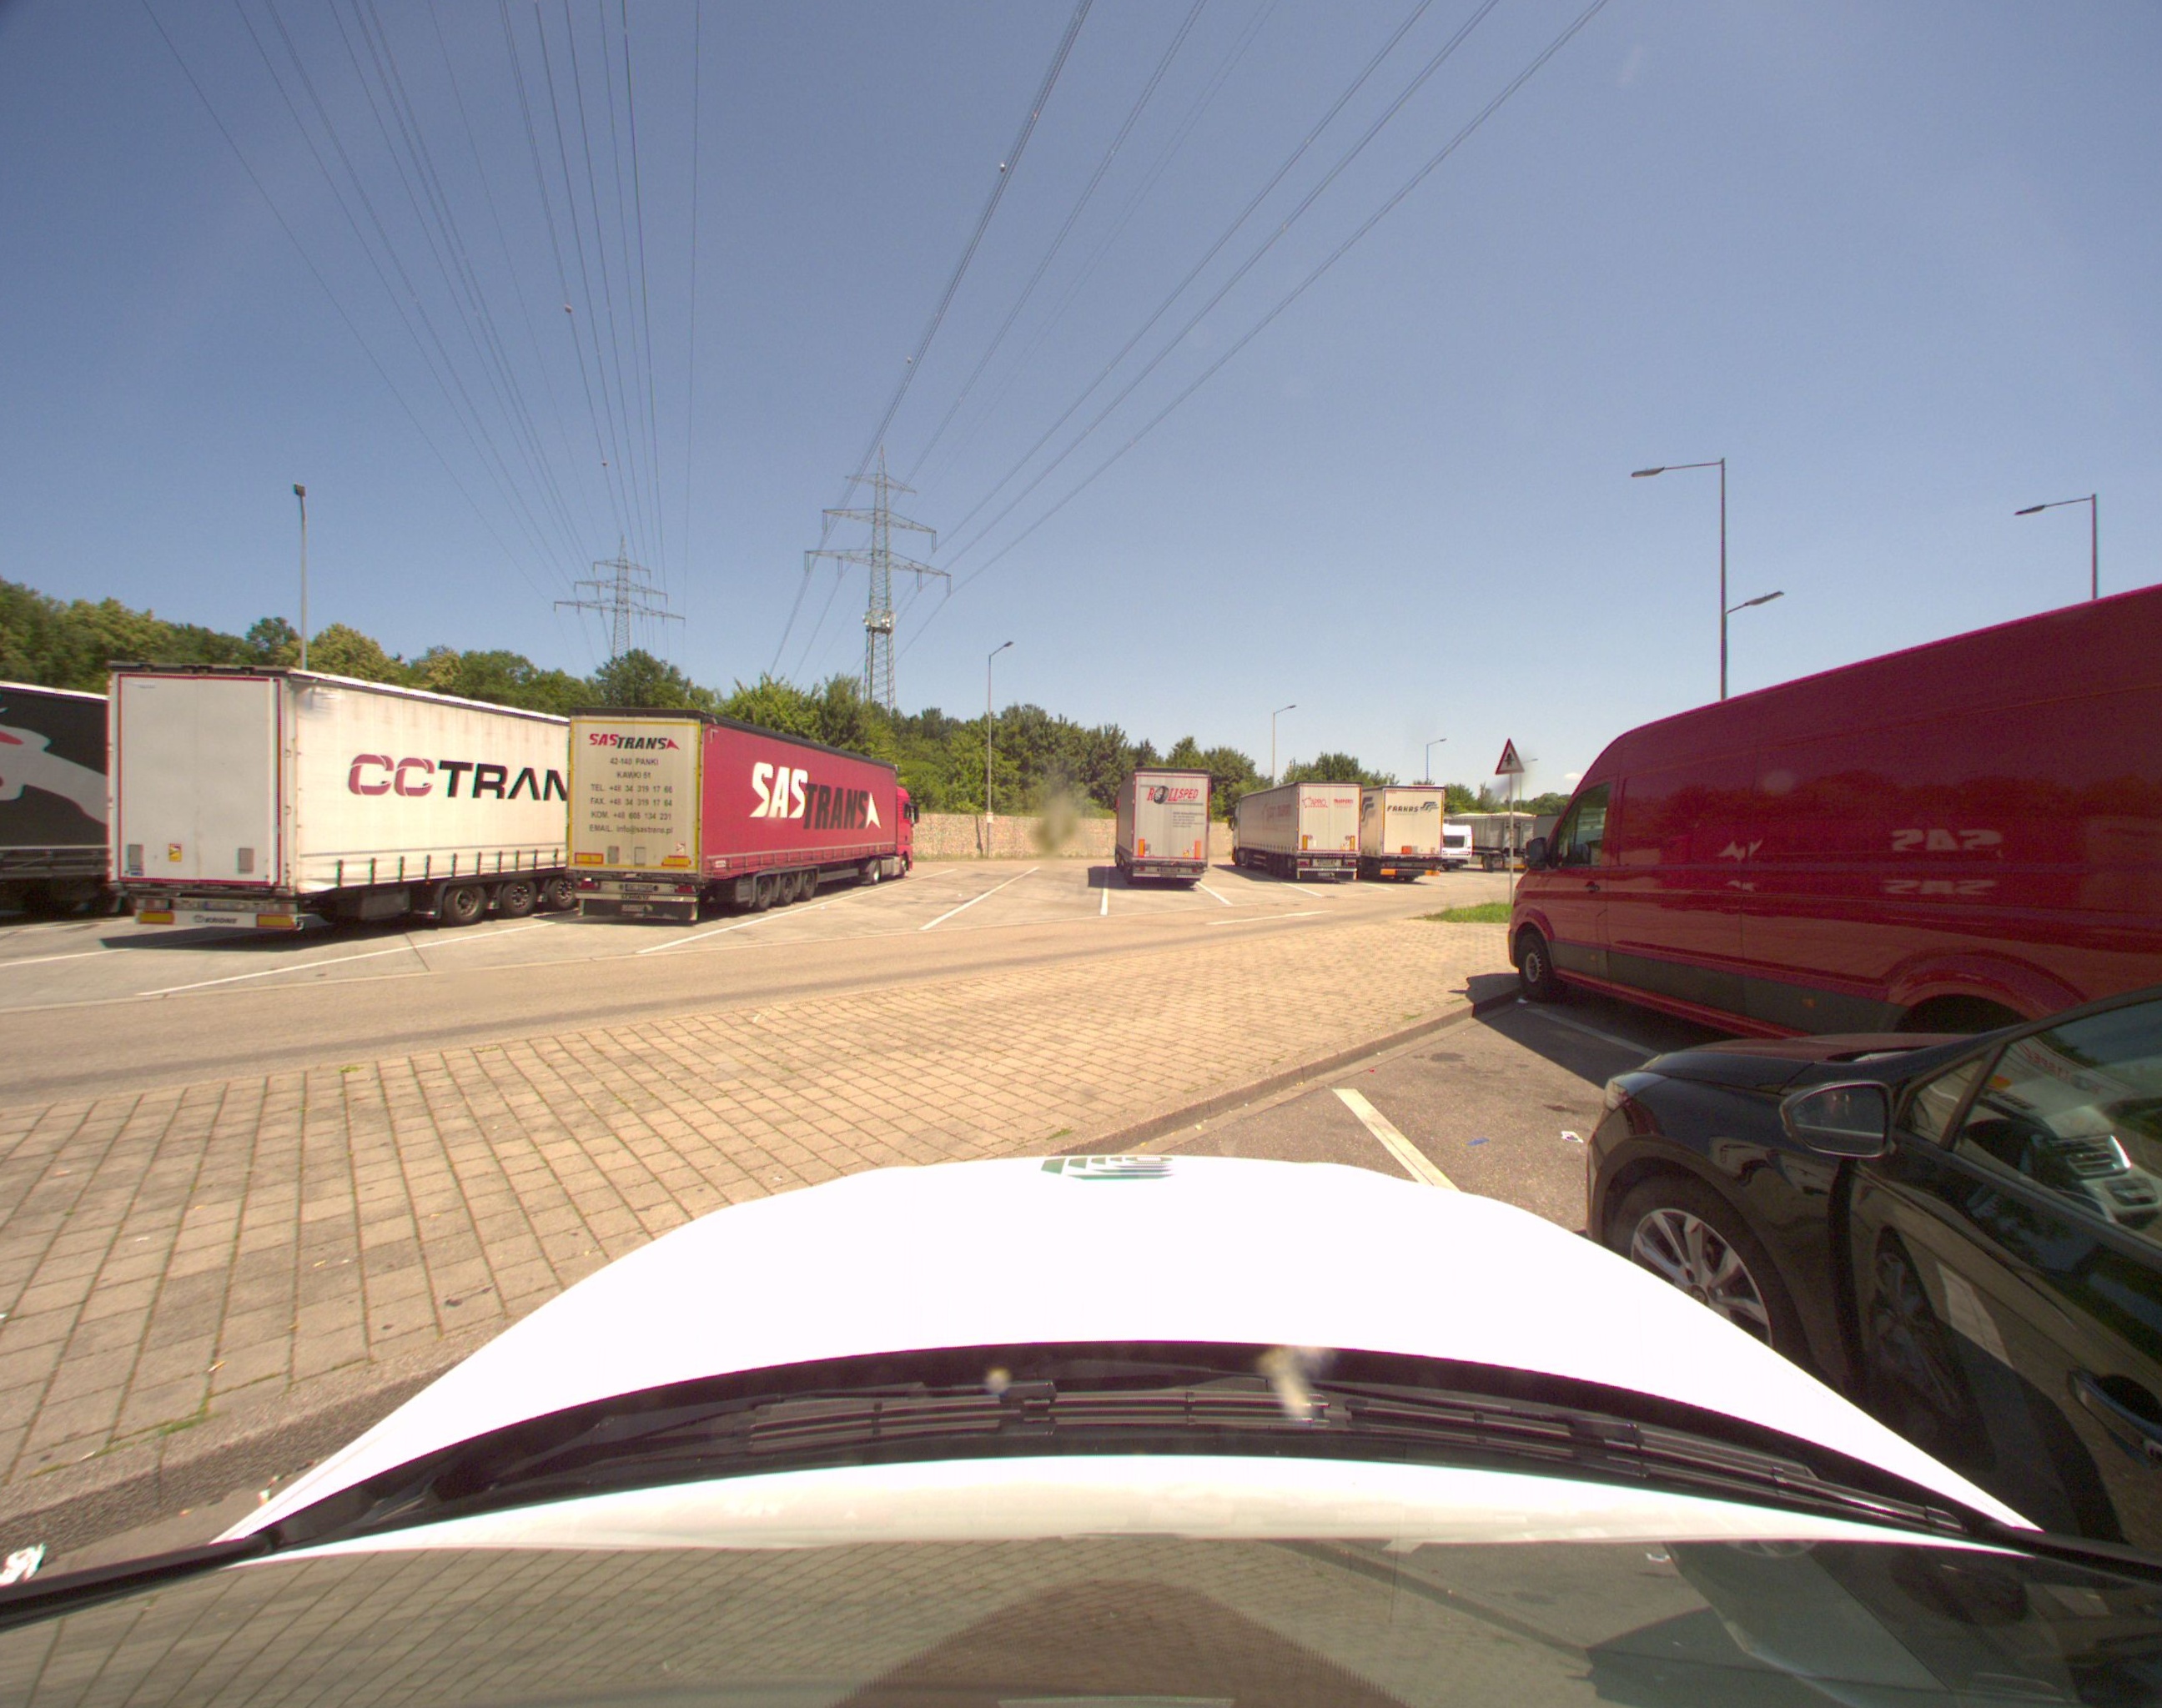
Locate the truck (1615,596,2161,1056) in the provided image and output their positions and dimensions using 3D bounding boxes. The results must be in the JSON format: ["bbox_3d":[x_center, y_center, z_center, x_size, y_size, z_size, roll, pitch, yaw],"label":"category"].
[{"bbox_3d":[7.944,-0.210,7.058,2.455,2.792,6.978,0,1,4],"label":"truck"}]

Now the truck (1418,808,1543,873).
[{"bbox_3d":[24.308,-0.959,50.492,2.478,3.568,11.429,0,2,2],"label":"truck"}]

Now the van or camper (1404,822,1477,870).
[{"bbox_3d":[20.669,-0.472,47.063,2.096,2.561,5.376,-1,1,3],"label":"van or camper"}]

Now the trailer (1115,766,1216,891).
[{"bbox_3d":[3.052,-1.104,33.722,2.857,4.037,14.244,0,2,1],"label":"trailer"}]

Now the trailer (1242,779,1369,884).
[{"bbox_3d":[9.961,-1.104,37.894,2.856,4.037,12.445,0,2,2],"label":"trailer"}]

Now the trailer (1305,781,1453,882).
[{"bbox_3d":[13.649,-1.124,38.870,2.856,4.037,12.445,0,2,2],"label":"trailer"}]

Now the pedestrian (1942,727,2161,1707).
[{"bbox_3d":[1.432,0.667,0.802,0.646,1.586,0.653,0,1,30],"label":"pedestrian"}]

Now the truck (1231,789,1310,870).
[{"bbox_3d":[10.188,-1.369,44.526,2.856,4.037,6.960,0,2,2],"label":"truck"}]

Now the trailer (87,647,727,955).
[{"bbox_3d":[-12.157,-0.974,17.783,2.803,4.266,12.947,0,2,2],"label":"trailer"}]

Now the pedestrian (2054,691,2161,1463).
[{"bbox_3d":[3.017,0.542,1.754,0.770,1.872,0.915,-1,1,-5],"label":"pedestrian"}]

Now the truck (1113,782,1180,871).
[{"bbox_3d":[3.146,-1.394,40.810,2.857,4.037,7.029,0,2,1],"label":"truck"}]

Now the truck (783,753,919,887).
[{"bbox_3d":[-7.743,-1.153,28.343,2.686,4.112,6.243,1,2,2],"label":"truck"}]

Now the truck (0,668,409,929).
[{"bbox_3d":[-18.612,-1.021,16.264,2.803,4.190,8.793,0,2,2],"label":"truck"}]

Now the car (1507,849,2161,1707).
[{"bbox_3d":[2.460,0.757,1.134,1.612,1.483,3.762,-1,1,-4],"label":"car"}]

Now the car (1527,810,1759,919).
[{"bbox_3d":[12.828,0.236,19.159,1.985,2.150,5.317,-2,0,3],"label":"car"}]

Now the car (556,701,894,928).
[{"bbox_3d":[-8.043,-0.934,21.427,2.686,4.112,12.943,1,2,2],"label":"car"}]

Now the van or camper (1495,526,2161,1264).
[{"bbox_3d":[5.144,0.101,5.486,1.986,2.654,6.490,-1,1,6],"label":"van or camper"}]

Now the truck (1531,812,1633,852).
[{"bbox_3d":[38.043,-1.647,62.369,2.117,2.820,9.783,-1,1,2],"label":"truck"}]
